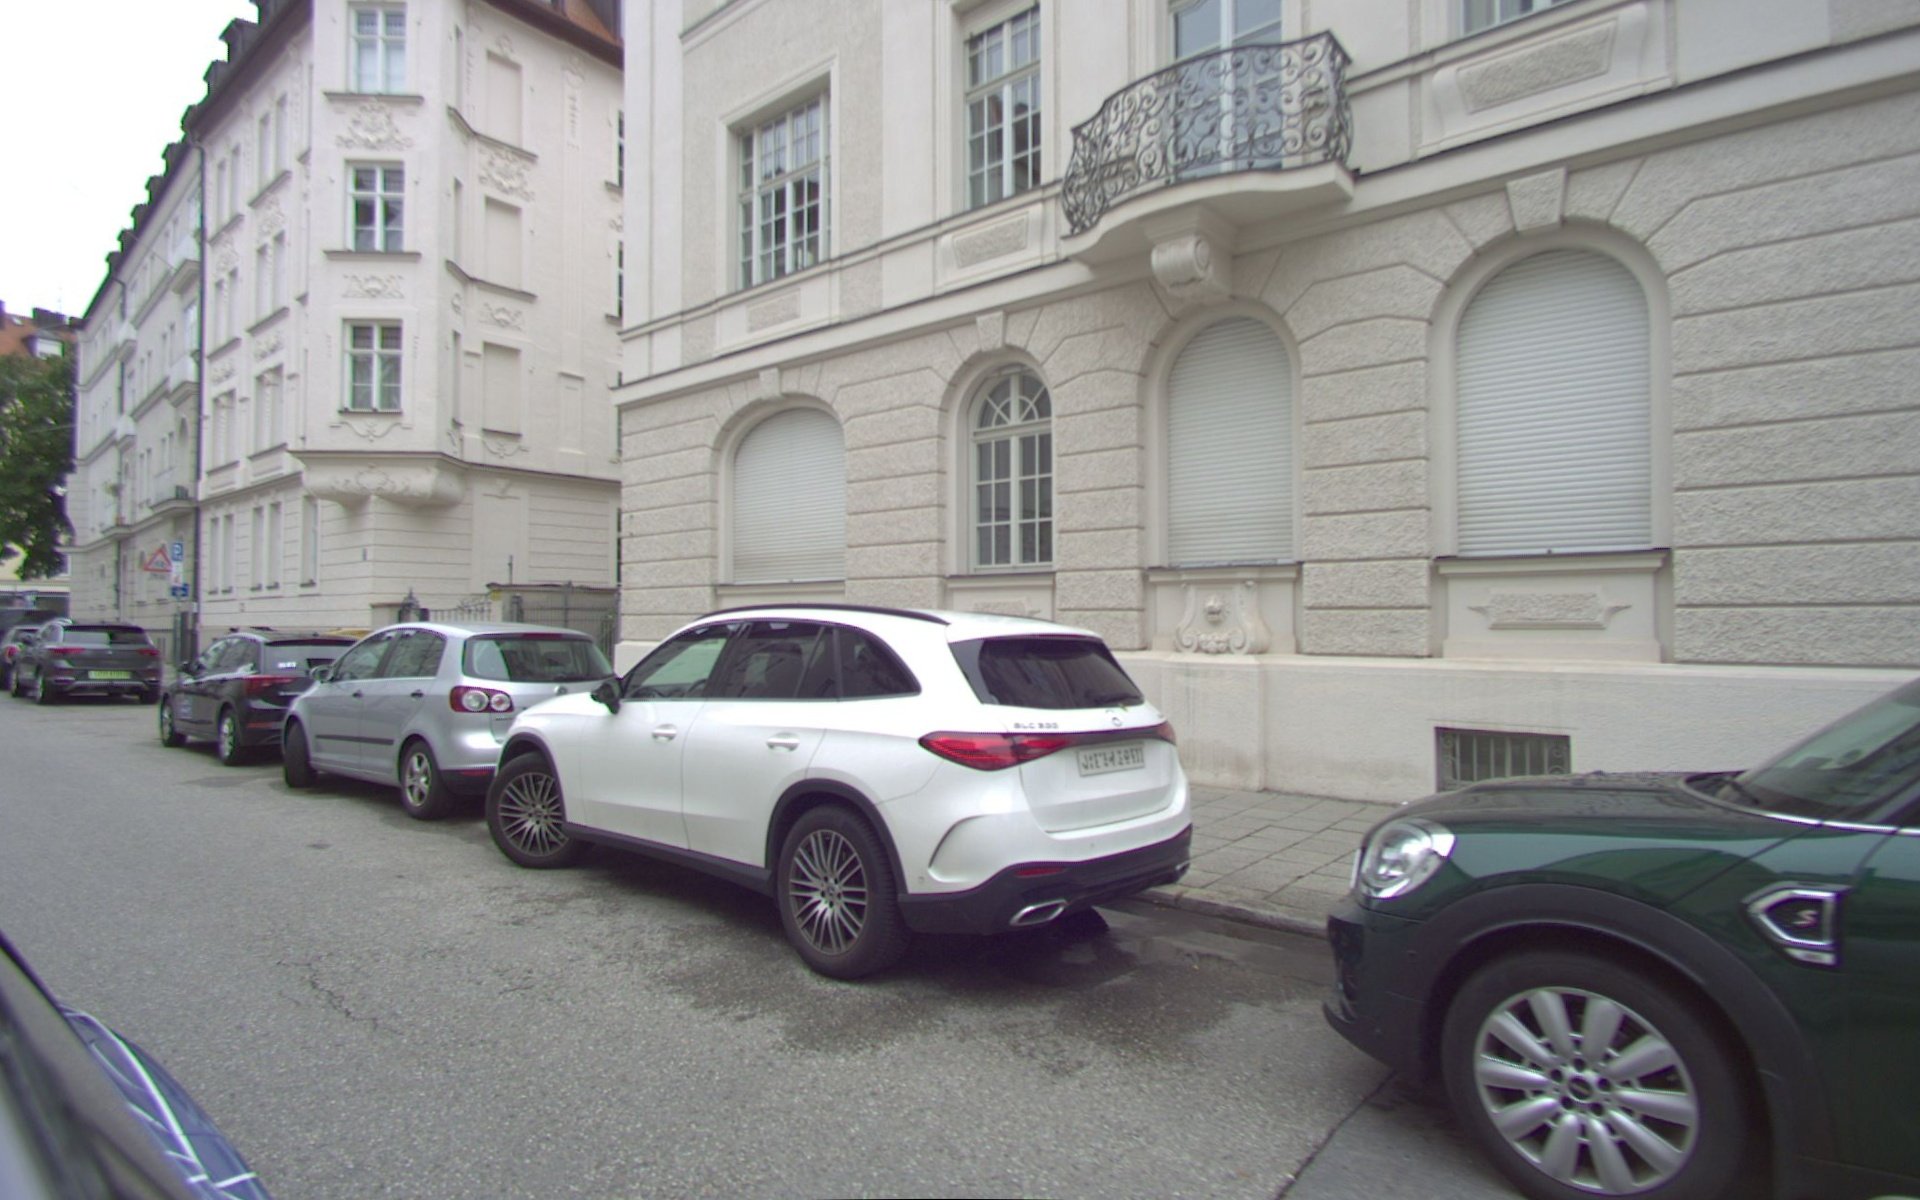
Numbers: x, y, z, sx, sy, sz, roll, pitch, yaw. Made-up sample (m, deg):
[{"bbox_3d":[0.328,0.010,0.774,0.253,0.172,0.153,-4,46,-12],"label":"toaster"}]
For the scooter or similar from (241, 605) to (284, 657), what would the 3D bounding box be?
[{"bbox_3d":[-17.044,0.757,24.719,1.547,1.231,0.488,-1,-2,41],"label":"scooter or similar"}]

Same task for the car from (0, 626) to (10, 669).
[{"bbox_3d":[-37.740,1.807,38.687,4.434,1.611,1.855,-2,-2,44],"label":"car"}]

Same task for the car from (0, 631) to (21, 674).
[{"bbox_3d":[-33.858,1.791,35.072,4.092,1.417,1.636,-1,-3,44],"label":"car"}]

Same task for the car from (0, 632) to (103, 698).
[{"bbox_3d":[-21.556,1.461,23.580,4.243,1.405,1.817,-2,-4,42],"label":"car"}]

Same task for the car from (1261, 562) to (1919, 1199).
[{"bbox_3d":[3.104,0.731,2.351,4.241,1.631,1.818,-2,-2,40],"label":"car"}]

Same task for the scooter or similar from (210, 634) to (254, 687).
[{"bbox_3d":[-17.442,1.431,24.242,1.547,1.209,0.526,-1,-2,41],"label":"scooter or similar"}]

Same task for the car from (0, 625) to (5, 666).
[{"bbox_3d":[-41.727,1.899,42.566,4.210,1.690,1.817,-2,-2,41],"label":"car"}]

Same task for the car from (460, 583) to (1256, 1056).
[{"bbox_3d":[-0.893,0.816,5.738,4.569,1.631,1.895,-2,-2,41],"label":"car"}]

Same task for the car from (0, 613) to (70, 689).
[{"bbox_3d":[-25.558,1.346,27.144,4.760,1.909,1.817,-2,-4,41],"label":"car"}]

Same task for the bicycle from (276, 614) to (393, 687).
[{"bbox_3d":[-12.149,0.932,19.606,2.715,1.251,1.140,-1,2,42],"label":"bicycle"}]

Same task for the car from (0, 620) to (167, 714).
[{"bbox_3d":[-16.989,1.237,19.541,4.117,1.631,1.709,-1,-3,39],"label":"car"}]

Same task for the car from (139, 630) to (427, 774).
[{"bbox_3d":[-8.341,1.125,12.327,4.276,1.426,1.774,-1,-4,41],"label":"car"}]

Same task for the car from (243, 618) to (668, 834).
[{"bbox_3d":[-4.752,0.975,9.307,4.250,1.553,1.766,-1,-3,37],"label":"car"}]
